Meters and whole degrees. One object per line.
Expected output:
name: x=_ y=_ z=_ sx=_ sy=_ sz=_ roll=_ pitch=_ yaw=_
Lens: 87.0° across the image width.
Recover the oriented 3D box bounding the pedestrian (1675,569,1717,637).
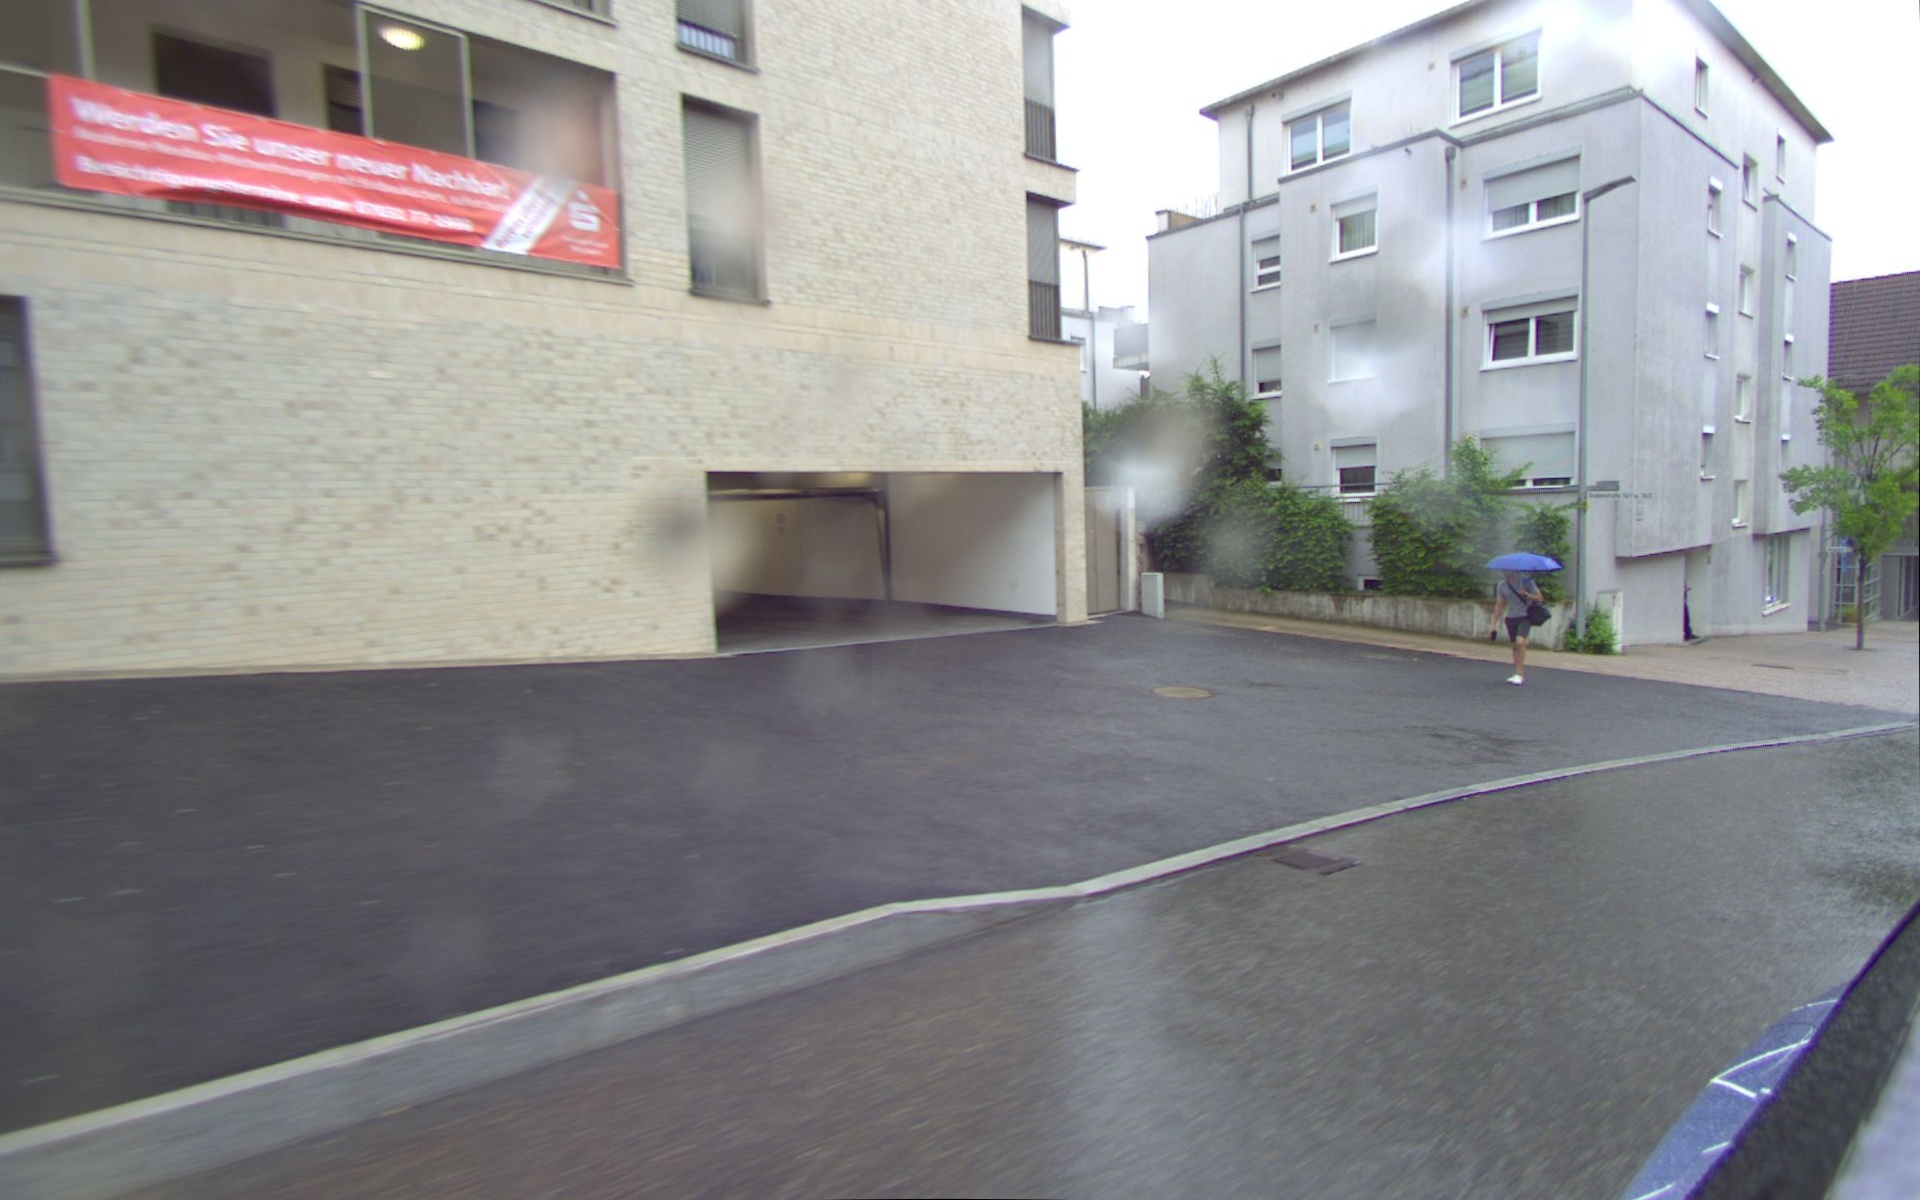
pedestrian: x=17.695 y=0.061 z=24.335 sx=0.690 sy=1.575 sz=0.699 roll=2 pitch=1 yaw=44

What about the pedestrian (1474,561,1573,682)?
pedestrian: x=7.757 y=0.271 z=13.934 sx=1.019 sy=1.560 sz=0.738 roll=0 pitch=5 yaw=-37
